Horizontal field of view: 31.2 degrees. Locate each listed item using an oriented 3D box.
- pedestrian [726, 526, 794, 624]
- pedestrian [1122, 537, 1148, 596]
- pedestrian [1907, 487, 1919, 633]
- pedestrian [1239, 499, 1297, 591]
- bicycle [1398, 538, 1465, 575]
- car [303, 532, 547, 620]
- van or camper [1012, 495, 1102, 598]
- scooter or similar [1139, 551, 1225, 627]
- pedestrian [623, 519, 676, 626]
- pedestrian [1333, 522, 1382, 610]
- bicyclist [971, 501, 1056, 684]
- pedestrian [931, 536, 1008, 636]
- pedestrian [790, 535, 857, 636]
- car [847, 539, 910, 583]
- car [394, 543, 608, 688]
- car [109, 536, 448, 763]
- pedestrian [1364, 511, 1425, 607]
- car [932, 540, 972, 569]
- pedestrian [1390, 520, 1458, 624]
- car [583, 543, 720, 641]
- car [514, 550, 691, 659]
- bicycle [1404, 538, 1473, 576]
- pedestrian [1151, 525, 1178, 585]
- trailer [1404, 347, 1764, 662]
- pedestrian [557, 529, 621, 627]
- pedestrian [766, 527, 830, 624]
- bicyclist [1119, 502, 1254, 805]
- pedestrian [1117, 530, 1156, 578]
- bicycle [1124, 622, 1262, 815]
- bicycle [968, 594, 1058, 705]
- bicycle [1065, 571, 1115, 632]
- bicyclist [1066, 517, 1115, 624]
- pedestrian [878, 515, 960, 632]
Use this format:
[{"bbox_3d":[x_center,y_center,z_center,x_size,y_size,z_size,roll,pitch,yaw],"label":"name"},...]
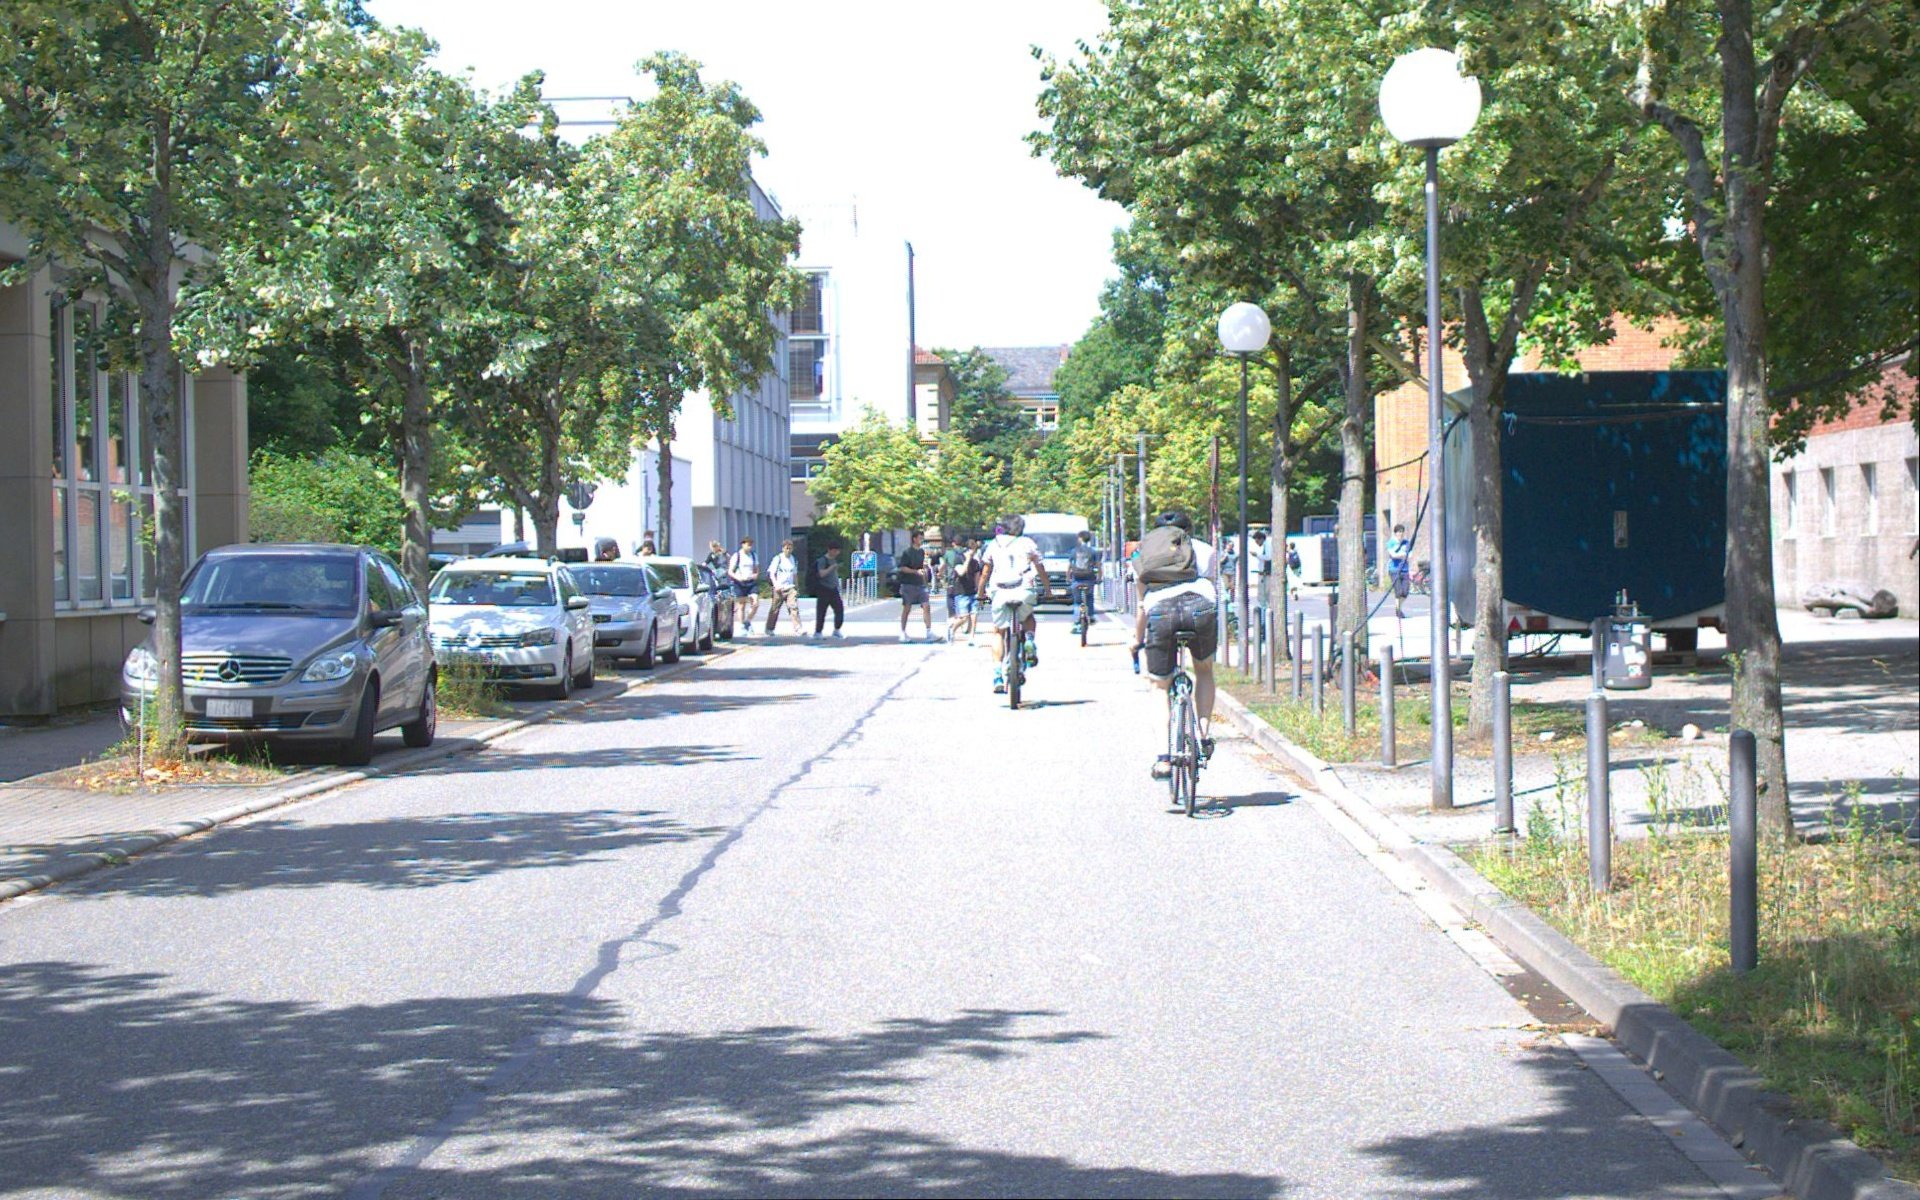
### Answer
[{"bbox_3d":[-3.569,-0.440,61.371,0.983,1.733,0.699,1,0,39],"label":"pedestrian"},{"bbox_3d":[5.587,-1.075,109.946,0.790,1.853,1.026,-1,1,3],"label":"pedestrian"},{"bbox_3d":[12.102,-0.505,42.502,0.595,1.790,0.407,-3,2,-2],"label":"pedestrian"},{"bbox_3d":[5.891,-1.049,65.724,0.959,1.688,0.704,3,4,11],"label":"pedestrian"},{"bbox_3d":[13.491,-1.254,98.406,1.809,0.981,0.560,-3,1,1],"label":"bicycle"},{"bbox_3d":[-10.714,-0.469,69.030,4.506,1.613,1.924,2,0,3],"label":"car"},{"bbox_3d":[2.477,-1.320,86.435,1.994,2.437,4.569,-2,0,4],"label":"van or camper"},{"bbox_3d":[3.750,-0.186,58.161,1.263,1.260,0.649,-1,1,33],"label":"scooter or similar"},{"bbox_3d":[-5.837,-0.516,64.617,0.616,1.973,0.829,-2,0,-30],"label":"pedestrian"},{"bbox_3d":[7.657,-0.652,66.206,0.501,1.624,0.571,-9,4,-30],"label":"pedestrian"},{"bbox_3d":[0.525,-0.078,33.509,0.771,1.750,0.848,1,1,2],"label":"bicyclist"},{"bbox_3d":[0.156,-0.227,56.214,0.848,1.589,0.830,-4,2,-42],"label":"pedestrian"},{"bbox_3d":[-2.371,-0.248,59.588,0.991,1.714,0.703,0,-3,15],"label":"pedestrian"},{"bbox_3d":[-2.902,-1.410,123.465,1.796,1.525,3.999,-1,1,5],"label":"car"},{"bbox_3d":[-4.894,0.129,37.184,1.725,1.451,4.584,1,1,-1],"label":"car"},{"bbox_3d":[-5.026,0.315,25.878,1.757,1.551,4.114,1,1,-1],"label":"car"},{"bbox_3d":[8.399,-0.797,66.504,0.708,1.781,0.753,-9,6,-30],"label":"pedestrian"},{"bbox_3d":[-0.422,-2.522,189.899,1.796,1.525,3.999,-1,1,5],"label":"car"},{"bbox_3d":[7.804,-0.477,57.845,0.875,1.632,0.949,-6,2,2],"label":"pedestrian"},{"bbox_3d":[-4.617,-0.141,51.892,1.662,1.407,3.807,0,1,1],"label":"car"},{"bbox_3d":[-4.705,0.032,45.802,1.725,1.339,4.165,1,1,3],"label":"car"},{"bbox_3d":[13.376,-1.201,96.072,1.809,0.981,0.560,-3,1,1],"label":"bicycle"},{"bbox_3d":[6.452,-1.430,108.312,0.790,1.853,1.026,-2,1,3],"label":"pedestrian"},{"bbox_3d":[6.635,-1.006,37.467,2.691,3.041,6.257,-2,1,0],"label":"trailer"},{"bbox_3d":[-6.897,-0.417,63.919,0.802,1.766,0.853,4,3,27],"label":"pedestrian"},{"bbox_3d":[-2.912,-0.440,61.798,0.908,1.733,0.677,0,1,39],"label":"pedestrian"},{"bbox_3d":[1.265,0.284,19.369,0.717,1.656,1.095,0,1,2],"label":"bicyclist"},{"bbox_3d":[7.798,-2.058,152.380,1.499,1.989,1.646,-4,2,0],"label":"pedestrian"},{"bbox_3d":[1.308,0.649,19.564,0.706,0.990,1.910,-2,1,3],"label":"bicycle"},{"bbox_3d":[0.527,0.463,33.399,0.808,0.999,2.124,-1,1,2],"label":"bicycle"},{"bbox_3d":[2.159,0.018,56.968,0.808,0.999,2.123,0,0,2],"label":"bicycle"},{"bbox_3d":[2.158,-0.489,56.889,0.808,1.750,0.692,0,0,2],"label":"bicyclist"},{"bbox_3d":[-0.697,-0.461,58.317,0.852,1.853,1.116,-5,8,-42],"label":"pedestrian"}]
